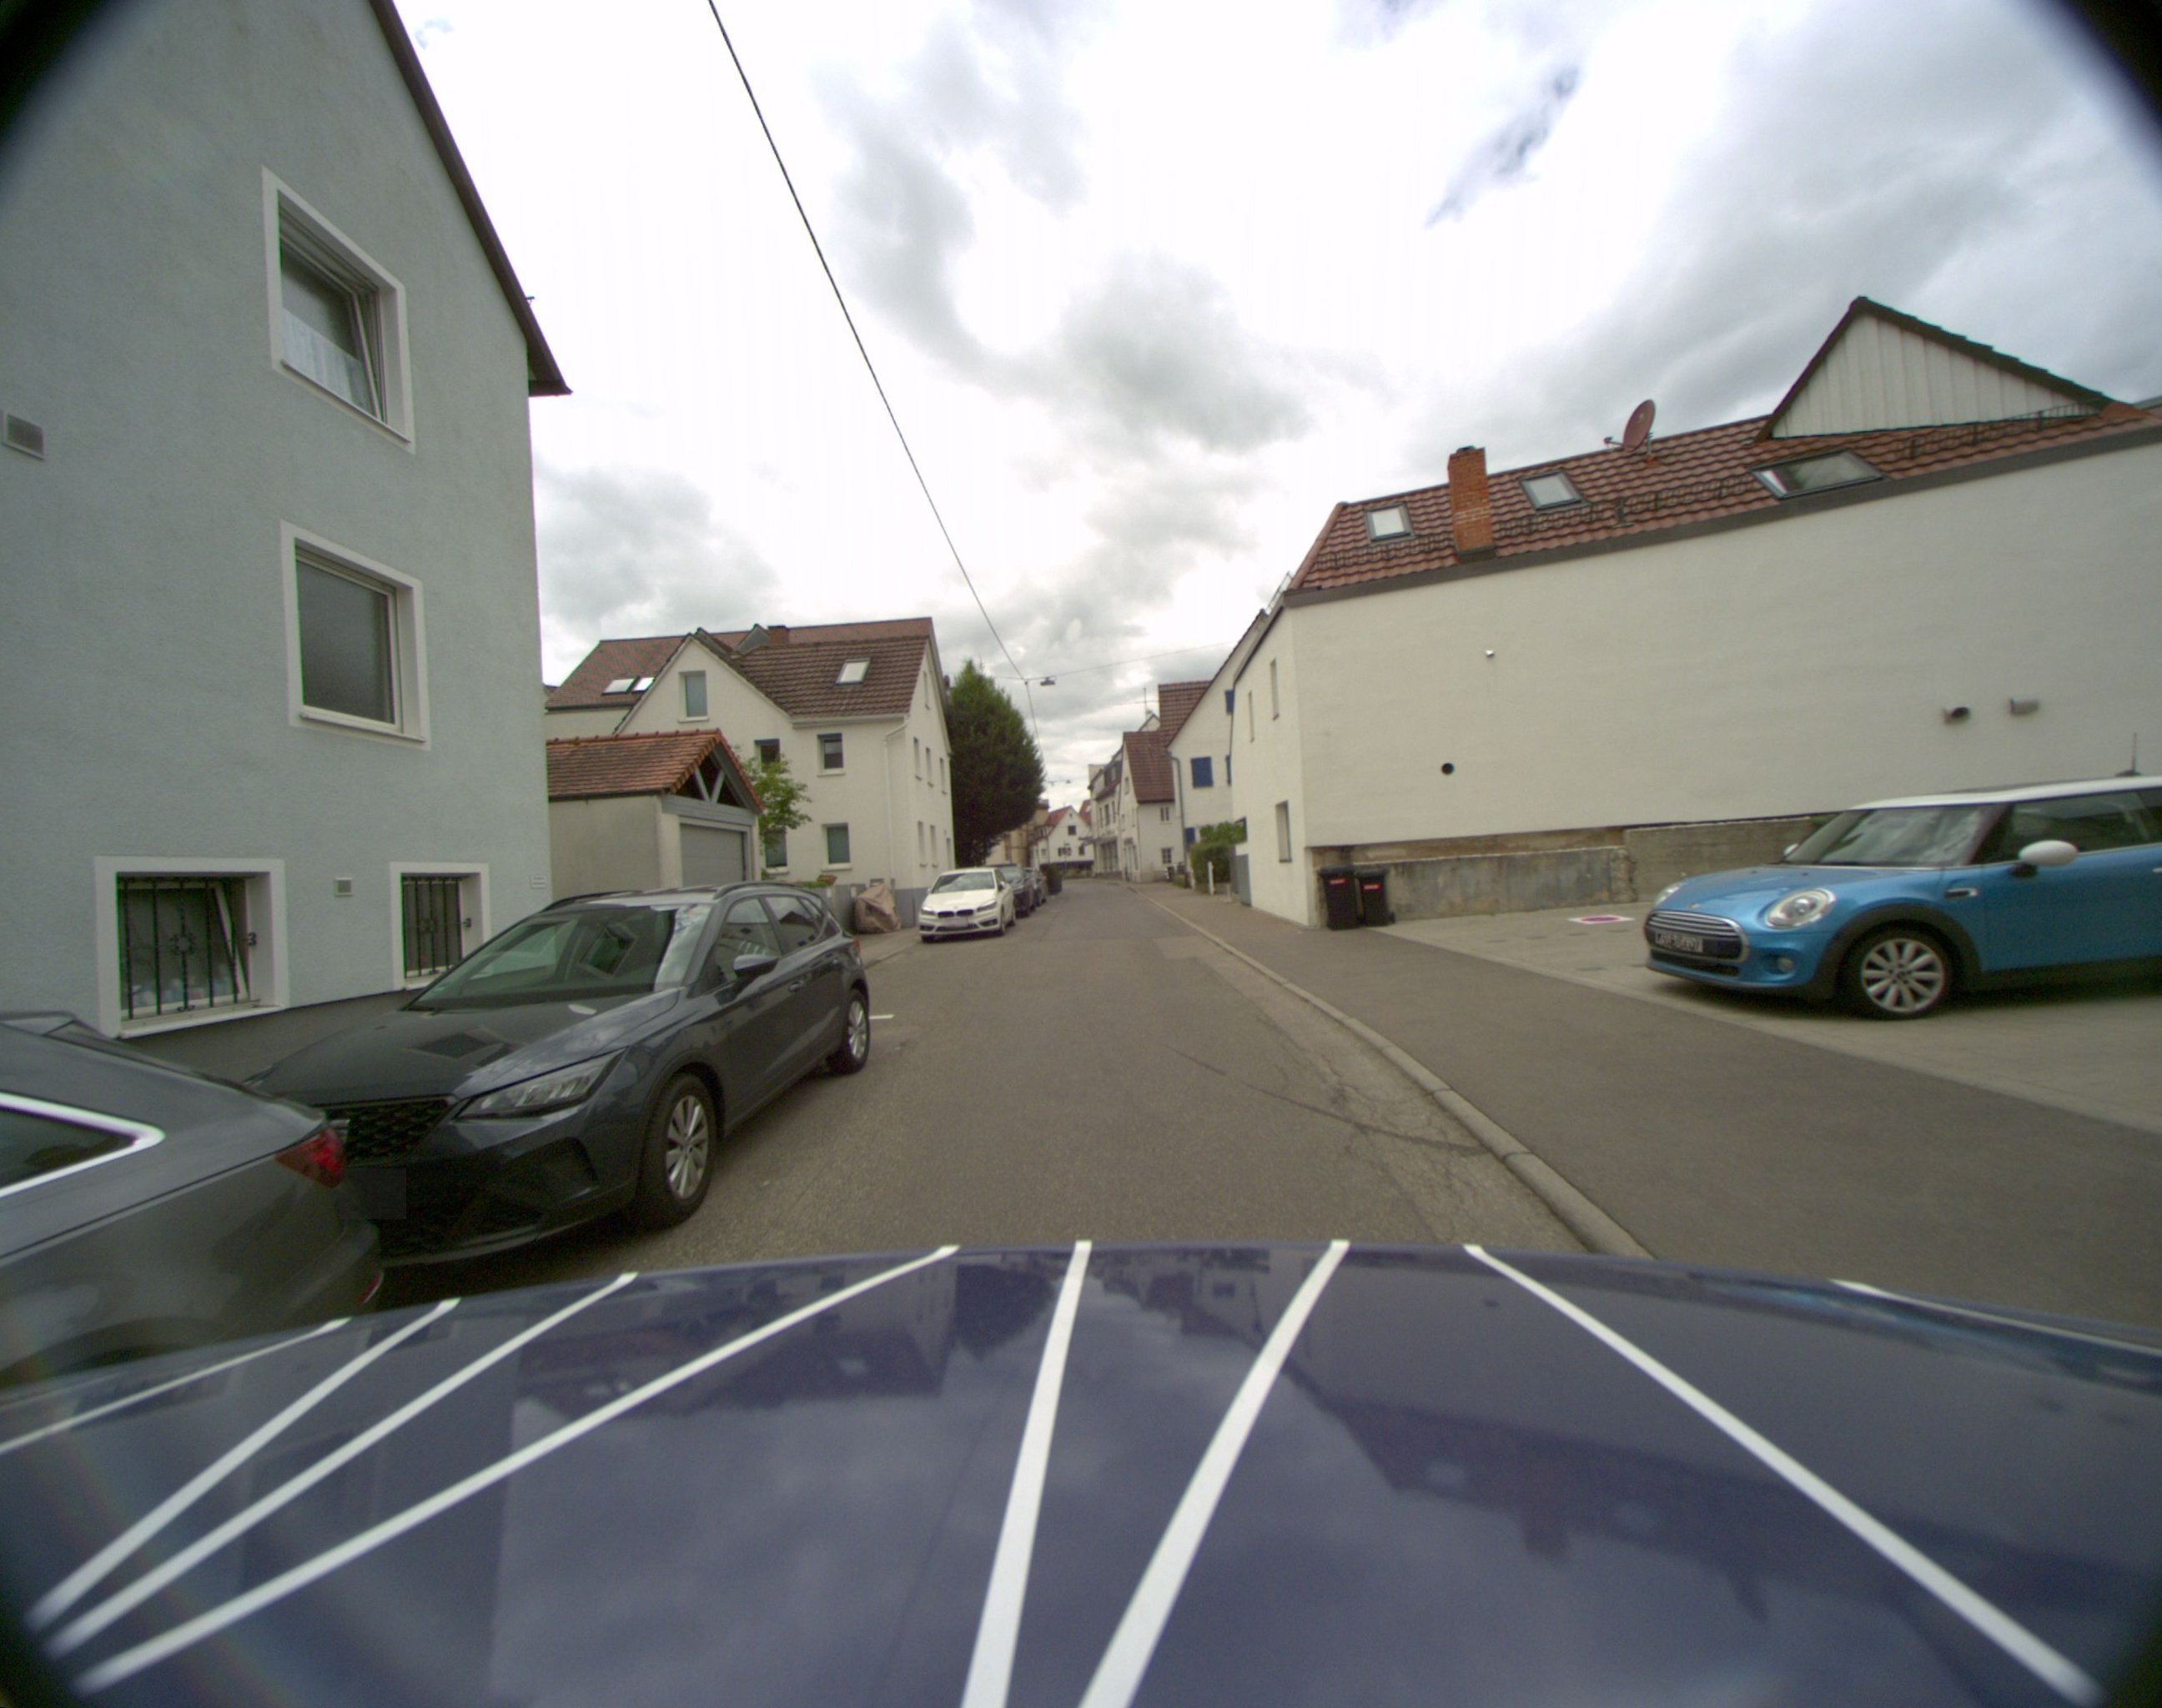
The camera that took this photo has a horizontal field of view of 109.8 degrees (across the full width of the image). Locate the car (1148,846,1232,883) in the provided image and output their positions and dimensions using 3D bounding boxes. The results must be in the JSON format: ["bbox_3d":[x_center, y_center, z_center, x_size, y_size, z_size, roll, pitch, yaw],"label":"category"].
[{"bbox_3d":[6.506,0.612,45.586,4.550,1.492,1.976,-8,3,-5],"label":"car"}]

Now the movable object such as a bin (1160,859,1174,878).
[{"bbox_3d":[4.817,0.834,42.501,0.554,0.993,0.587,-9,-3,11],"label":"movable object such as a bin"}]

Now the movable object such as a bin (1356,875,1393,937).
[{"bbox_3d":[4.726,0.826,12.220,0.450,0.900,0.572,-7,0,22],"label":"movable object such as a bin"}]

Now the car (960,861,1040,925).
[{"bbox_3d":[-2.396,1.115,23.764,1.867,1.623,4.901,-3,0,0],"label":"car"}]

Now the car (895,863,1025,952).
[{"bbox_3d":[-2.646,1.116,17.877,1.998,1.606,4.879,-5,0,2],"label":"car"}]

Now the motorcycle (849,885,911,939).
[{"bbox_3d":[-5.095,1.440,19.422,0.820,1.166,2.170,-2,1,4],"label":"motorcycle"}]

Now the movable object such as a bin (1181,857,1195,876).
[{"bbox_3d":[5.980,0.689,42.490,0.556,0.994,0.623,-9,-2,10],"label":"movable object such as a bin"}]

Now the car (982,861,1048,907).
[{"bbox_3d":[-2.484,1.091,29.745,1.953,1.499,4.821,-4,0,1],"label":"car"}]

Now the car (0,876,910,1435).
[{"bbox_3d":[-2.606,1.075,4.784,1.758,1.618,4.535,-5,0,2],"label":"car"}]

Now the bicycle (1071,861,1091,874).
[{"bbox_3d":[0.016,1.432,80.429,1.983,1.232,0.743,-3,-2,-26],"label":"bicycle"}]

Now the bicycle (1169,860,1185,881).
[{"bbox_3d":[5.208,0.890,41.231,0.443,1.032,2.095,-8,-2,14],"label":"bicycle"}]

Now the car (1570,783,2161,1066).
[{"bbox_3d":[6.158,0.378,5.522,3.739,1.403,2.120,-6,1,5],"label":"car"}]

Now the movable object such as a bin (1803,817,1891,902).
[{"bbox_3d":[10.274,0.069,10.218,0.555,1.069,0.726,-5,1,23],"label":"movable object such as a bin"}]

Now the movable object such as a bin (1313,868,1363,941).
[{"bbox_3d":[4.201,0.815,12.396,0.615,1.069,0.753,-6,1,23],"label":"movable object such as a bin"}]
